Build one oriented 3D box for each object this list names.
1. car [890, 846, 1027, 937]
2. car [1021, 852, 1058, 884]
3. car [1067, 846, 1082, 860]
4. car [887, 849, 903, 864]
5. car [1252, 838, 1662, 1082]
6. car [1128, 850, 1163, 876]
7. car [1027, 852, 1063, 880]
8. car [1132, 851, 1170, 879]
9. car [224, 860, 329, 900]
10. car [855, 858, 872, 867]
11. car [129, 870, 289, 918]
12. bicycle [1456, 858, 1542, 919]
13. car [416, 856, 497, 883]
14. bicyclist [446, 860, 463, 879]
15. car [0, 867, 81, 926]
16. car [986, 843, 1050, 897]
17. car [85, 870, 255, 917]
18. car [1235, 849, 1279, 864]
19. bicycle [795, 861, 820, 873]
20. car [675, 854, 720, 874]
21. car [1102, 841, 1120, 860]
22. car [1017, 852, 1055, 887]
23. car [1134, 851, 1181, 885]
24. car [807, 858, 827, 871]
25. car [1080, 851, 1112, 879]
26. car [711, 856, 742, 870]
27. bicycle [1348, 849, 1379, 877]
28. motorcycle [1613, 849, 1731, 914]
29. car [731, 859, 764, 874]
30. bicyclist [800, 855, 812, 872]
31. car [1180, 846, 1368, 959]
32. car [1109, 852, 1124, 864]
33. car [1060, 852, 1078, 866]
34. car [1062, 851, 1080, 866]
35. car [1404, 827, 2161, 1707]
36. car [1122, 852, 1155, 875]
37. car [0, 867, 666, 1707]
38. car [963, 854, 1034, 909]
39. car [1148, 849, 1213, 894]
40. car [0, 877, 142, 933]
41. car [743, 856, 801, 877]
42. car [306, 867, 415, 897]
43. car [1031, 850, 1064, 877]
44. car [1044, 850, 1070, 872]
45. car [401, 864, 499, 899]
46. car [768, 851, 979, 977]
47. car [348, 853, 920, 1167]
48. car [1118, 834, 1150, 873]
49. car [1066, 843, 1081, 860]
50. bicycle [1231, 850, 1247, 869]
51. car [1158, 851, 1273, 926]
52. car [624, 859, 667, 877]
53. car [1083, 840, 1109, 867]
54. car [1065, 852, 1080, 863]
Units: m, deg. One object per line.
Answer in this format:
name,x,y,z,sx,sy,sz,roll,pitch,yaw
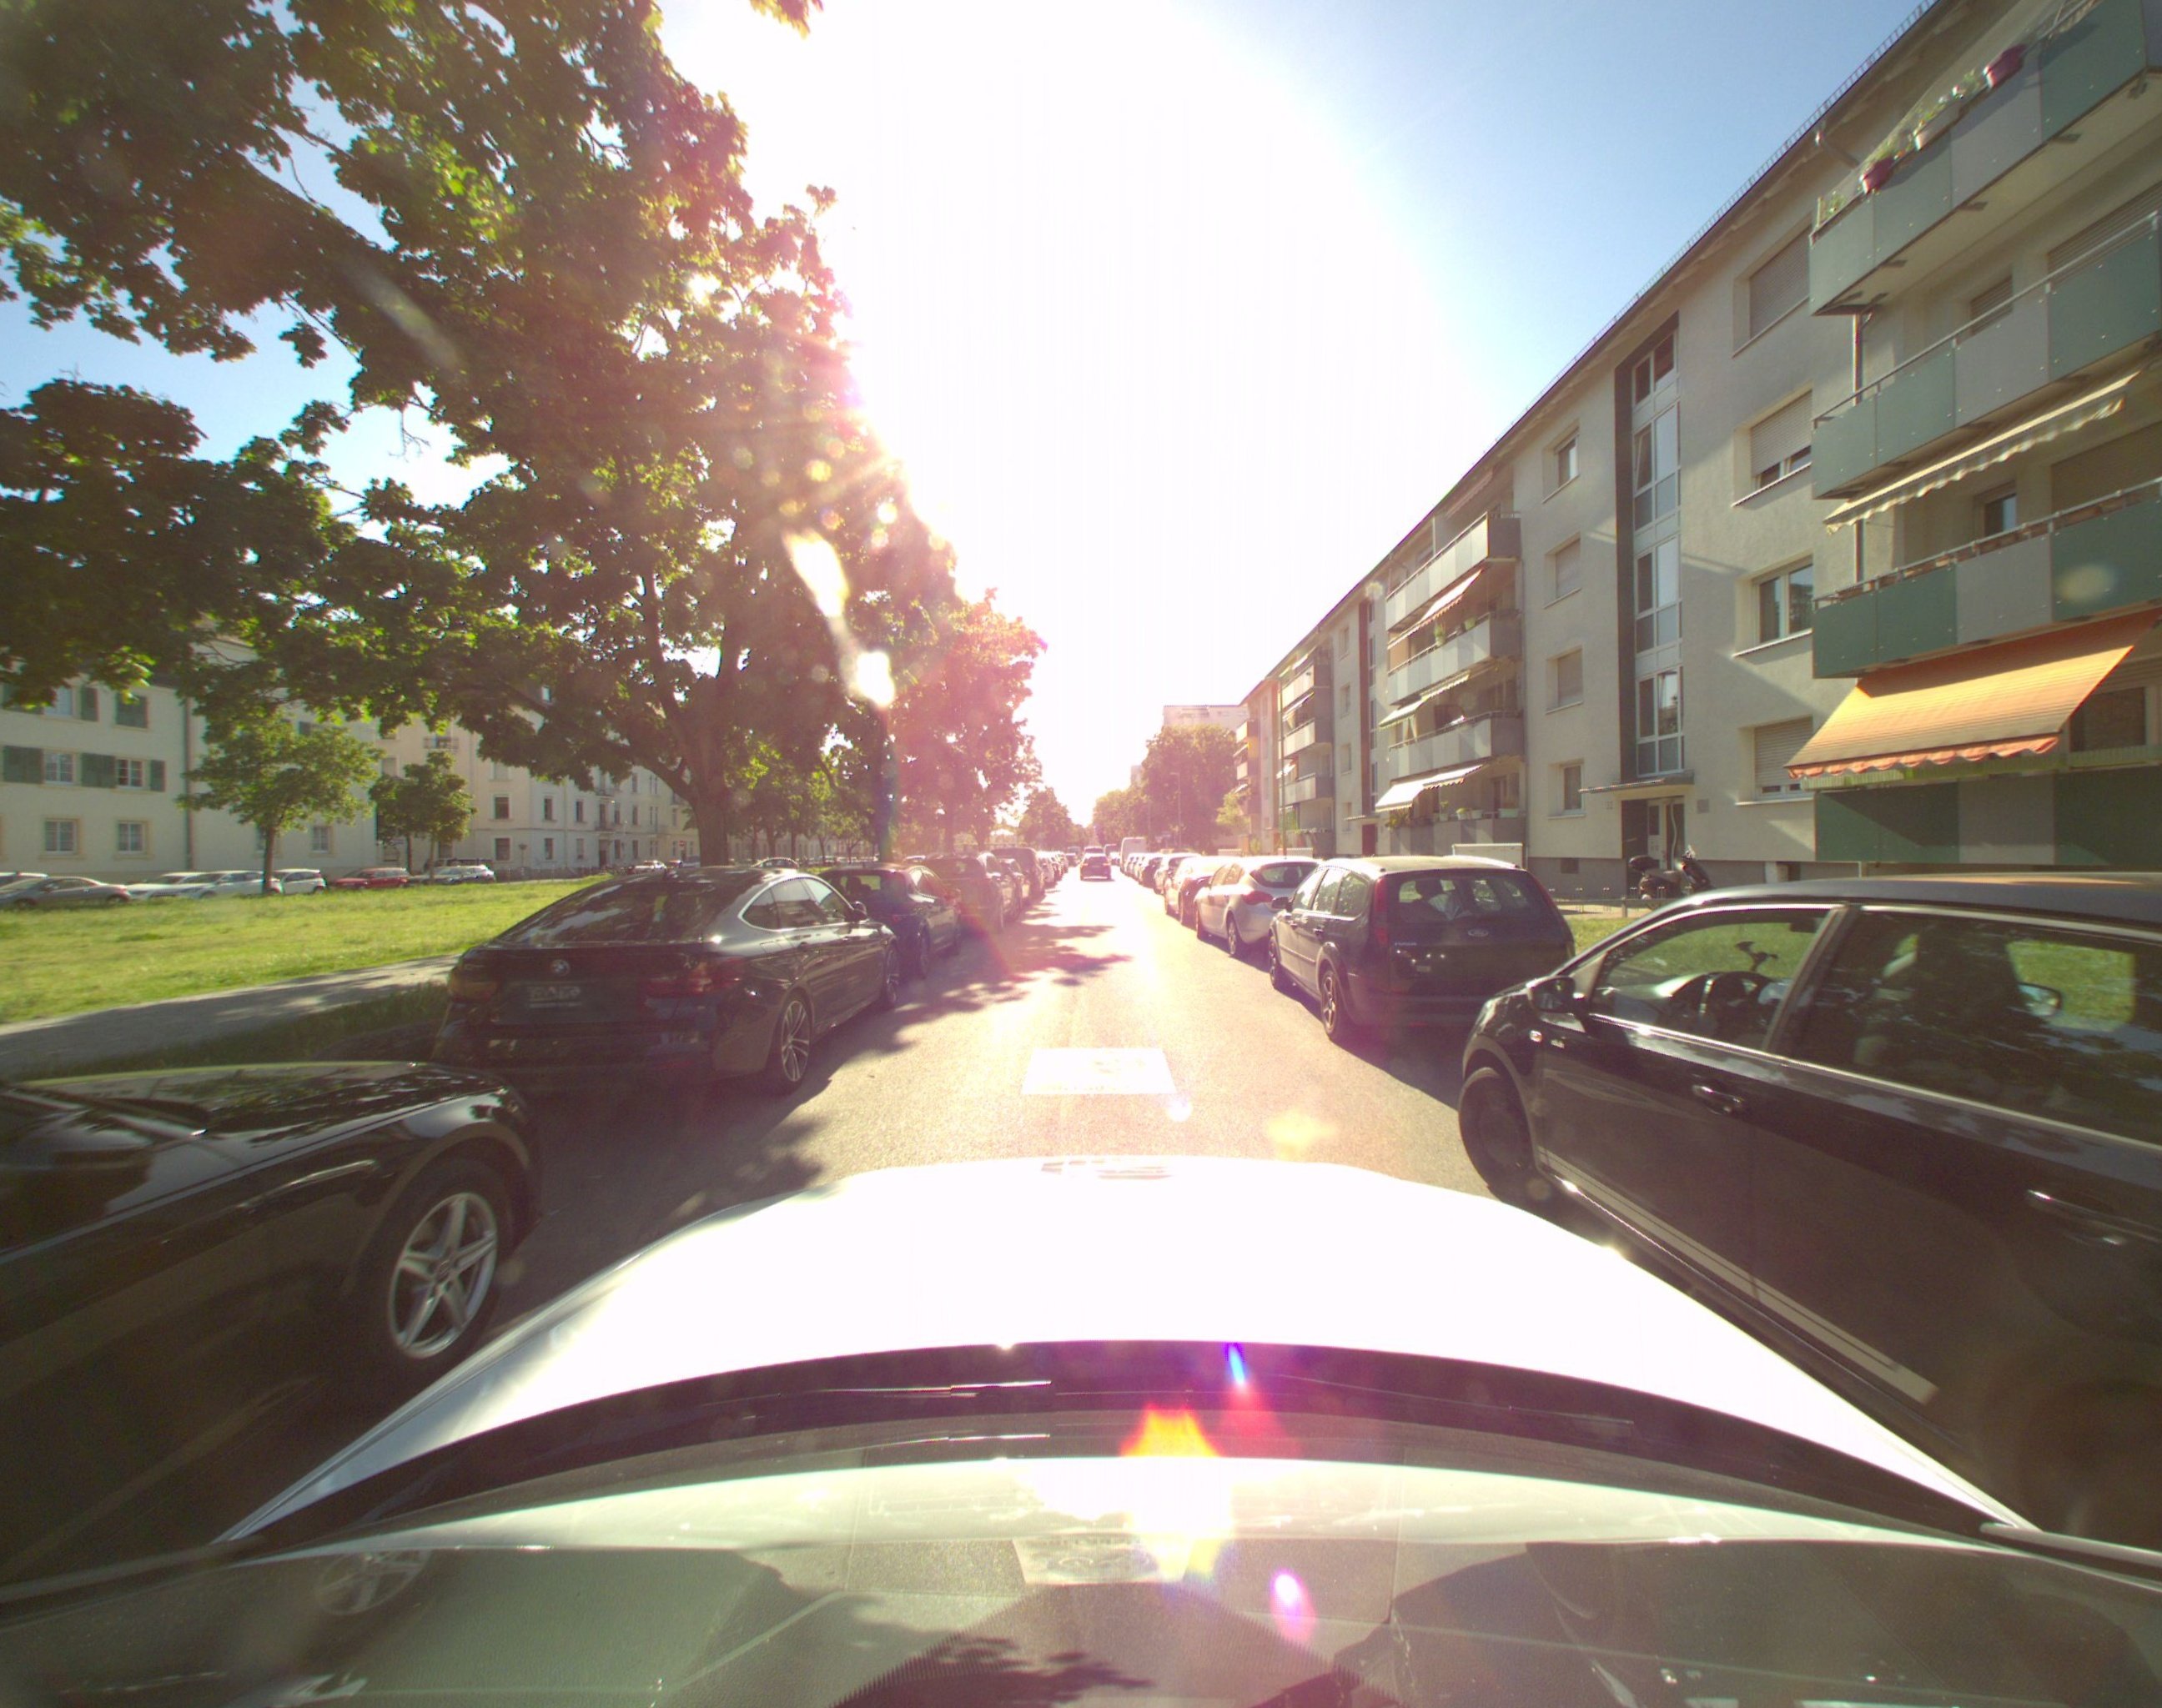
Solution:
car,-2.443,0.690,17.585,2.018,1.625,4.759,-2,0,2
car,-2.137,0.700,43.192,1.750,1.492,4.666,-3,0,-1
car,-0.983,-0.165,118.772,2.091,1.942,4.127,-1,0,1
car,-36.300,0.434,159.010,1.910,2.744,5.621,-1,0,-2
car,2.868,0.666,7.457,1.763,1.529,4.559,-1,0,2
car,3.871,0.525,49.306,1.871,1.475,4.141,-1,0,1
car,-2.102,0.679,48.362,1.868,1.519,4.469,-3,0,0
car,3.727,0.557,43.930,1.715,1.435,4.153,-1,0,1
car,-42.477,1.334,43.134,1.660,2.014,3.896,-1,0,0
car,-36.379,1.406,136.273,1.840,1.440,3.775,-1,0,1
car,-37.054,1.649,34.802,2.230,1.820,4.255,-1,0,-2
bicycle,7.891,0.618,15.482,0.717,1.077,1.897,-1,0,2
car,-49.040,1.169,64.022,4.552,2.013,2.138,-1,0,-3
bicyclist,-43.641,1.077,56.720,0.530,1.364,0.786,-1,0,1
car,-42.770,1.686,31.145,2.523,2.216,5.255,-1,0,-1
car,-2.204,0.550,29.932,1.858,1.784,4.991,-1,0,1
car,-42.580,1.778,38.321,2.146,1.886,5.158,-1,0,0
car,16.829,0.236,78.020,3.878,1.429,1.657,-1,0,-3
bicycle,-23.953,1.158,71.389,1.985,1.016,0.653,-1,0,-25
car,-36.845,0.911,78.373,2.076,1.872,5.094,-1,0,-2
car,4.343,-0.474,119.281,2.157,2.689,5.411,-1,0,-2
car,-2.109,0.688,38.748,1.582,1.492,3.684,-3,0,-1
car,3.566,0.618,38.499,1.694,1.435,4.470,-3,0,-1
car,-36.341,1.430,112.200,1.627,1.686,4.078,-1,0,-2
car,0.900,0.590,46.558,1.773,1.531,4.002,0,0,2
car,-36.449,0.905,83.752,1.689,1.279,3.523,-1,0,-2
bicycle,11.540,0.353,33.314,0.521,1.071,2.009,-3,0,0
motorcycle,11.270,0.497,15.625,0.582,1.151,2.031,-1,0,-8
car,-36.432,1.350,89.057,1.689,1.561,4.694,-1,0,-2
bicyclist,-24.138,0.834,71.506,0.880,1.363,0.618,0,5,-30
car,2.975,0.668,13.598,1.869,1.534,4.488,-1,0,-3
car,4.274,0.460,97.734,1.773,1.371,4.128,-1,0,2
car,-1.296,0.538,88.054,1.741,1.425,3.918,-3,-1,2
car,-1.127,0.511,92.576,1.770,1.495,3.876,-3,0,2
car,2.576,0.697,2.565,1.653,1.474,3.793,1,0,1
car,3.780,0.593,53.992,1.843,1.466,4.200,0,0,-1
car,-2.666,0.804,1.000,1.830,1.452,4.965,-1,0,-1
car,-2.326,0.733,23.853,1.532,1.428,4.089,-1,0,1
car,3.582,0.609,29.917,1.744,1.499,3.857,-2,0,-3
car,-37.086,1.781,29.119,2.308,1.750,4.011,-1,0,2
car,-25.434,1.012,67.063,4.354,1.576,1.914,-2,0,-24
car,-42.386,1.605,48.110,1.987,1.485,4.957,-2,0,0
car,-2.137,0.599,53.393,1.813,1.610,4.739,-3,0,1
car,-1.931,0.557,66.001,1.749,1.647,4.289,-3,0,2
car,-36.918,1.552,47.832,2.152,1.820,4.703,-1,0,-1
car,-2.675,0.727,11.475,1.873,1.419,3.804,-2,-1,1
car,-2.801,0.792,6.782,1.988,1.516,5.154,-2,0,-2
car,3.975,-0.072,61.963,2.134,2.713,6.844,-3,0,2
car,-1.070,-0.355,125.184,2.090,2.496,4.128,-1,0,2
bicycle,9.875,0.343,50.951,0.594,1.176,2.013,-1,-1,0
car,2.951,0.683,18.986,1.837,1.472,5.064,-1,0,0
car,-42.112,1.352,78.867,1.989,1.586,4.447,-1,0,-3
car,1.208,-0.014,64.269,1.887,1.991,4.012,-3,0,2
car,-1.127,0.462,110.304,1.826,1.500,4.128,-1,0,2
